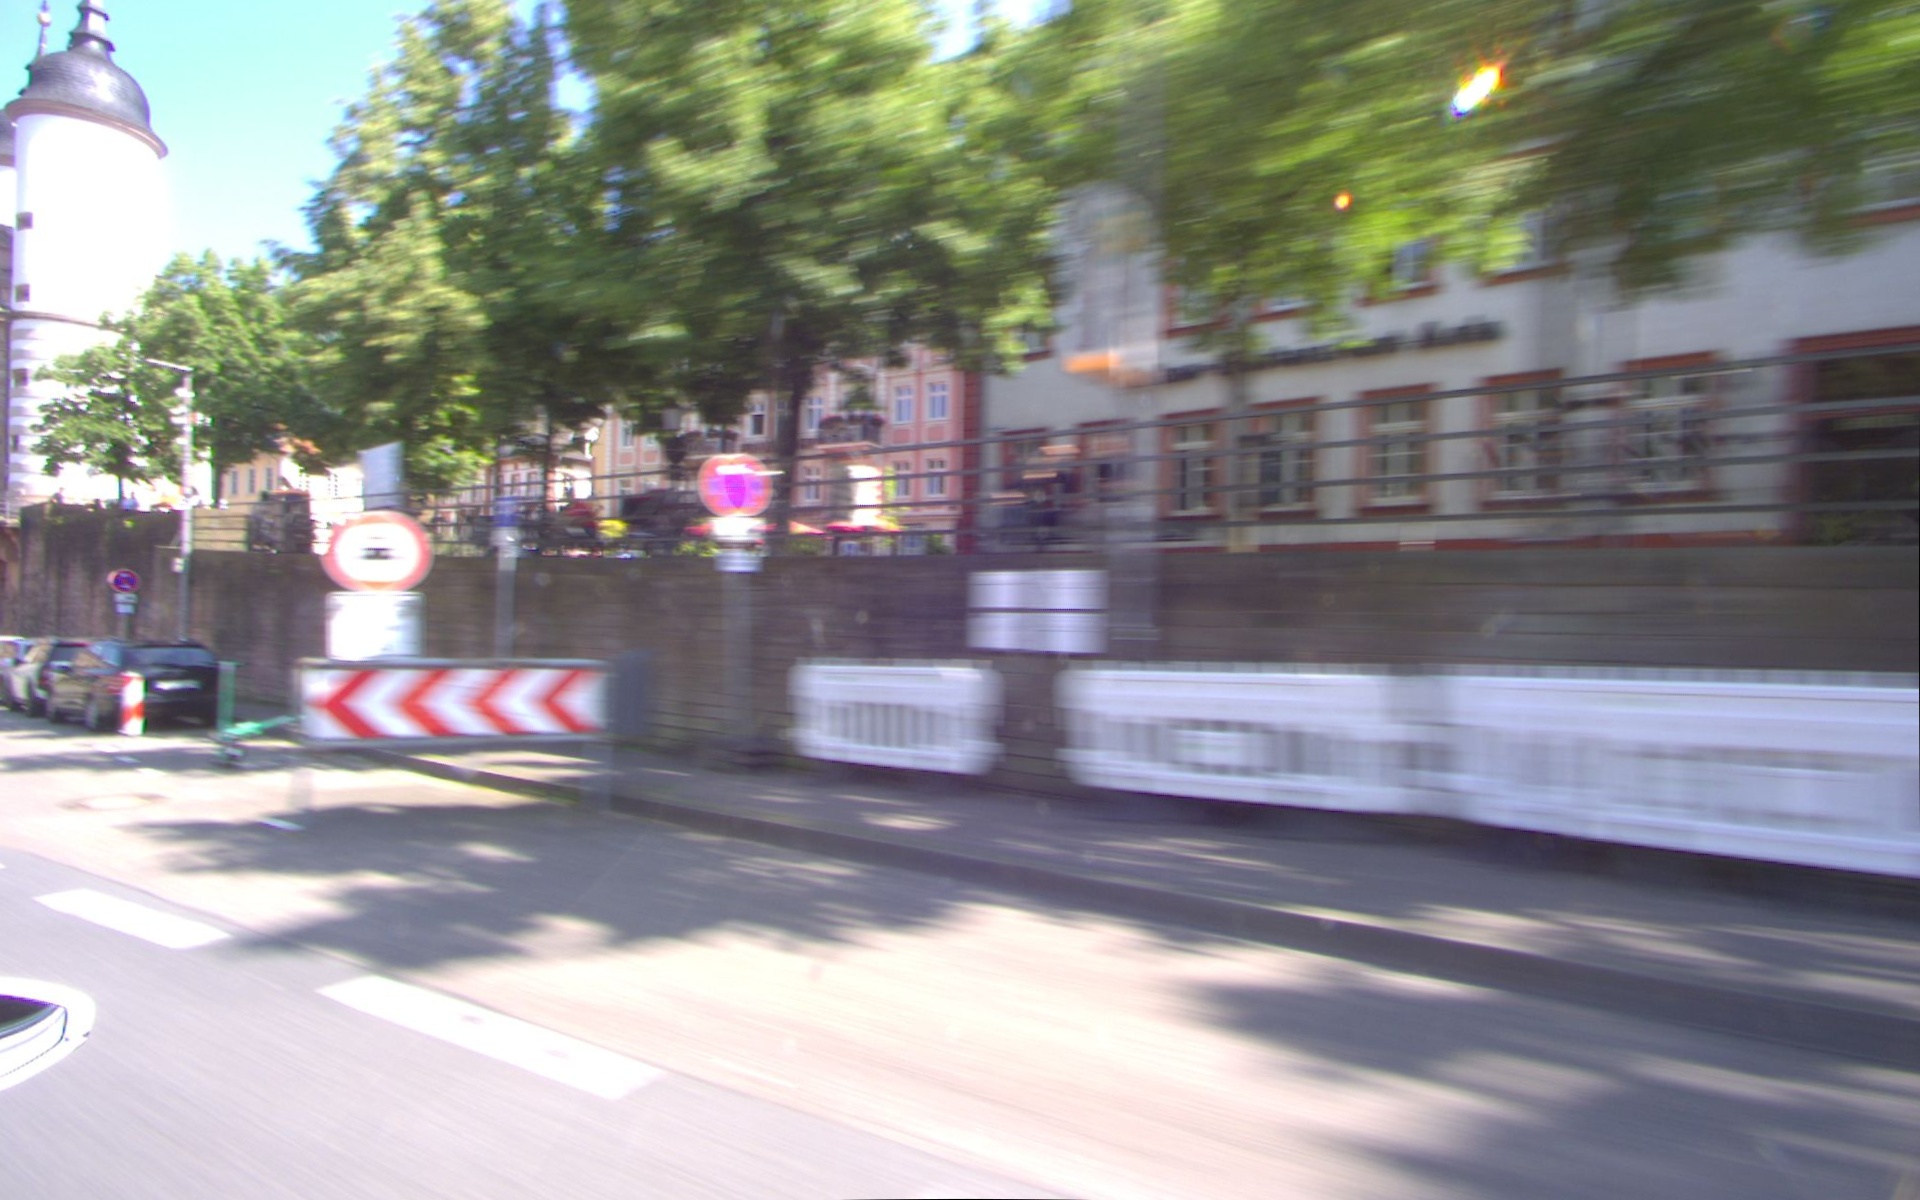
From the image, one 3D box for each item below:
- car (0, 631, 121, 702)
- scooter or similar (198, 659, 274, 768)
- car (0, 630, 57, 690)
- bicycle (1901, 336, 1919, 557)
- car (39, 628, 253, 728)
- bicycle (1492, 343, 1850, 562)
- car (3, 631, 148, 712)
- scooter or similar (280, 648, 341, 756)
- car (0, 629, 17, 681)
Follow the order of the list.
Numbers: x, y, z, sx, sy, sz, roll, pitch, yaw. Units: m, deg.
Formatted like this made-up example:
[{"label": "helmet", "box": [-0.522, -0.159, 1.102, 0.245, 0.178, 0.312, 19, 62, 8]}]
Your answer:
[{"label": "car", "box": [-21.154, 1.461, 23.090, 4.695, 1.451, 1.748, -1, -2, 37]}, {"label": "scooter or similar", "box": [-8.219, 1.246, 11.353, 0.528, 1.104, 1.425, 0, -1, -43]}, {"label": "car", "box": [-25.095, 1.531, 26.033, 3.500, 1.476, 1.706, -1, -2, 36]}, {"label": "bicycle", "box": [5.677, -0.807, 4.777, 1.715, 1.120, 0.408, -1, 0, 43]}, {"label": "car", "box": [-13.804, 1.218, 16.899, 4.478, 1.468, 1.836, -1, -2, 38]}, {"label": "bicycle", "box": [4.181, -0.822, 6.033, 1.709, 1.120, 0.409, 0, 0, 31]}, {"label": "car", "box": [-17.676, 1.356, 19.961, 3.857, 1.431, 1.605, -1, -2, 40]}, {"label": "scooter or similar", "box": [-8.164, 1.247, 12.576, 0.527, 1.246, 1.261, 0, -1, -38]}, {"label": "car", "box": [-28.305, 1.569, 28.612, 4.360, 1.406, 1.701, -1, -1, 43]}]
